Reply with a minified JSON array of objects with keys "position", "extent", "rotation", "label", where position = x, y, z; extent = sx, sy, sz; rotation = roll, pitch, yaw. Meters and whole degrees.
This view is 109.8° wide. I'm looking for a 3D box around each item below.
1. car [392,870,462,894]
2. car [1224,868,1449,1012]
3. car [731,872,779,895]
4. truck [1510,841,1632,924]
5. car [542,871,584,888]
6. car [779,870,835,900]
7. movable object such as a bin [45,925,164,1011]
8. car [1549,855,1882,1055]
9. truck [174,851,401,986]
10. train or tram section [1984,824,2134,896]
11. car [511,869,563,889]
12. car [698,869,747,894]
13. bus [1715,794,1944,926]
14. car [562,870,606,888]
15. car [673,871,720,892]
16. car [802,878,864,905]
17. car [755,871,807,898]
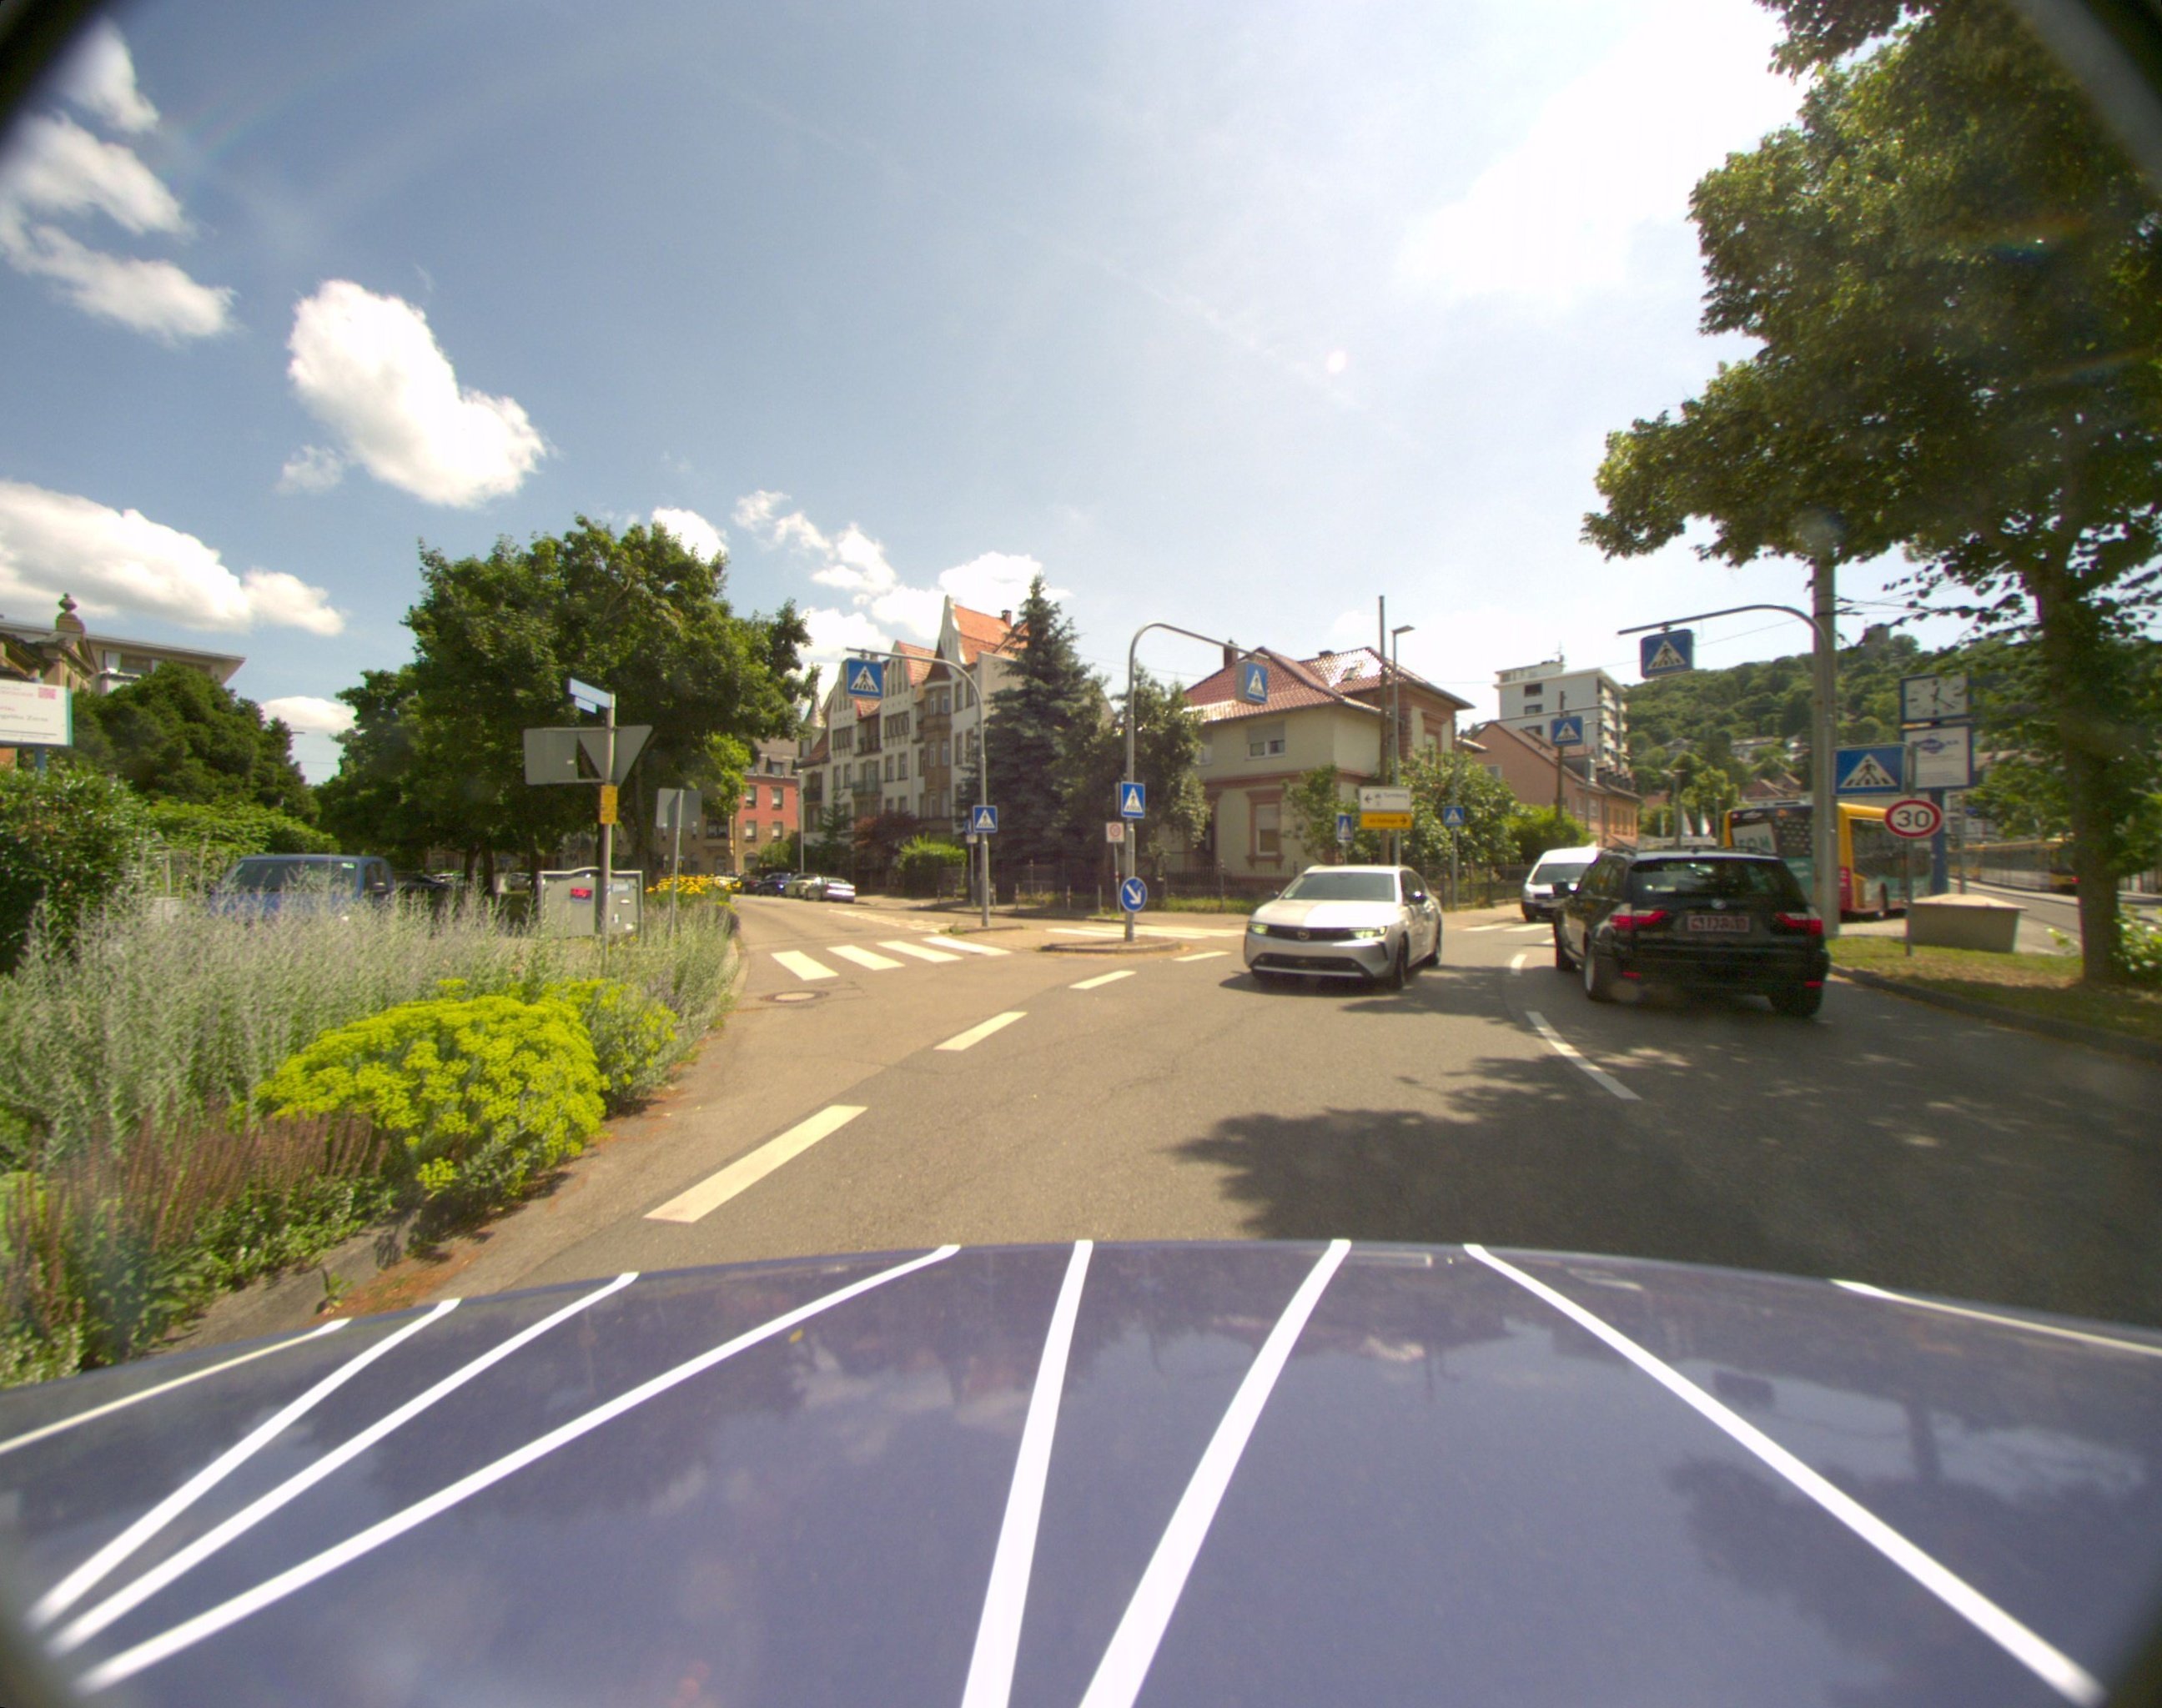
[{"position":[-54.099,2.302,62.969],"extent":[4.005,1.849,1.920],"rotation":[0,0,-26],"label":"car"},{"position":[3.564,0.939,10.051],"extent":[1.797,1.457,4.180],"rotation":[-1,-1,33],"label":"car"},{"position":[-22.241,2.016,51.829],"extent":[1.779,1.379,3.989],"rotation":[7,-5,-41],"label":"car"},{"position":[15.013,0.859,23.127],"extent":[2.016,2.235,5.420],"rotation":[-4,-3,44],"label":"truck"},{"position":[-50.802,2.471,74.475],"extent":[4.174,1.608,2.004],"rotation":[-1,0,34],"label":"car"},{"position":[-15.715,1.755,43.487],"extent":[1.779,1.506,3.989],"rotation":[6,-5,-36],"label":"car"},{"position":[-11.926,1.375,9.304],"extent":[0.617,0.955,0.634],"rotation":[-1,0,-4],"label":"movable object such as a bin"},{"position":[6.670,0.839,8.607],"extent":[1.857,1.622,4.336],"rotation":[1,0,26],"label":"car"},{"position":[-13.703,0.997,13.505],"extent":[1.920,1.914,5.268],"rotation":[2,-2,-37],"label":"truck"},{"position":[54.953,0.276,43.165],"extent":[2.891,3.499,13.932],"rotation":[-1,-1,43],"label":"train or tram section"},{"position":[-46.111,2.133,64.369],"extent":[4.174,1.608,2.004],"rotation":[-1,0,30],"label":"car"},{"position":[-26.351,2.005,55.818],"extent":[3.864,1.604,1.780],"rotation":[0,-5,42],"label":"car"},{"position":[22.824,0.212,22.875],"extent":[10.879,3.277,2.702],"rotation":[0,-1,-34],"label":"bus"},{"position":[-47.034,2.382,71.916],"extent":[4.174,1.608,2.004],"rotation":[-1,0,34],"label":"car"},{"position":[-29.796,2.116,58.807],"extent":[3.864,1.382,1.780],"rotation":[1,-5,40],"label":"car"},{"position":[-12.860,1.917,39.288],"extent":[1.822,1.318,3.989],"rotation":[2,-2,-37],"label":"car"},{"position":[-18.808,1.891,47.559],"extent":[1.779,1.506,3.989],"rotation":[7,-5,-39],"label":"car"}]
